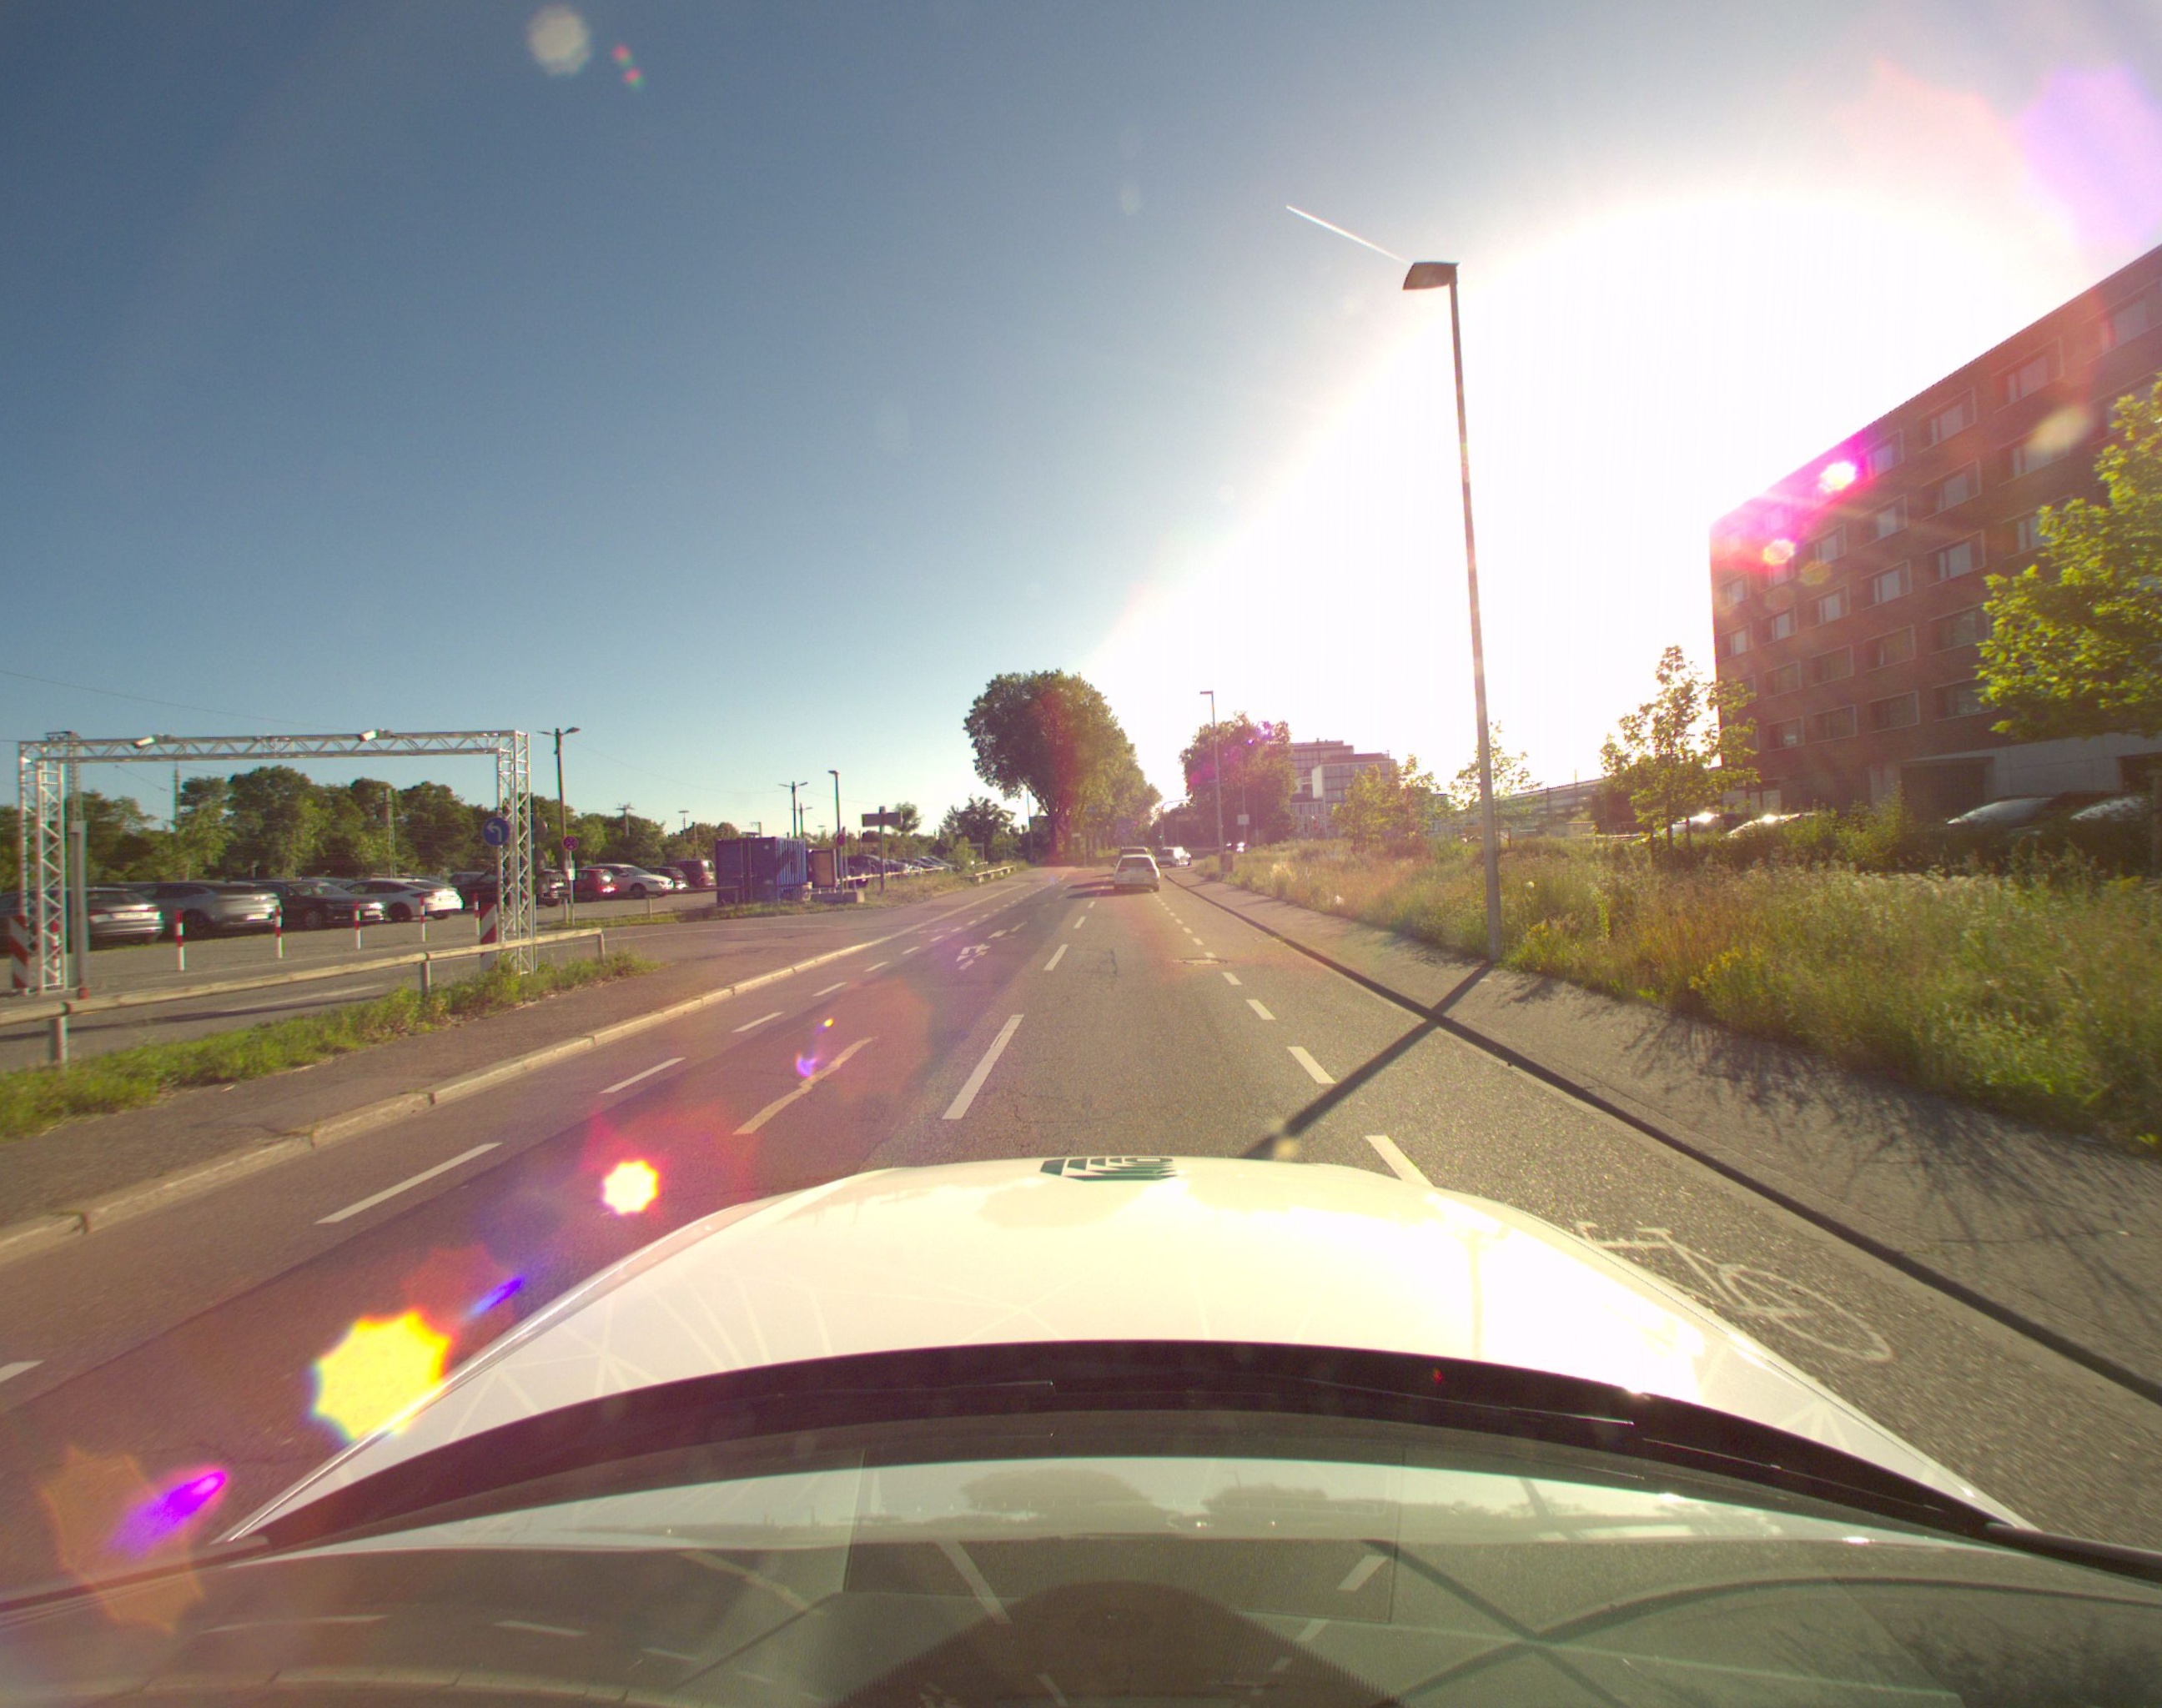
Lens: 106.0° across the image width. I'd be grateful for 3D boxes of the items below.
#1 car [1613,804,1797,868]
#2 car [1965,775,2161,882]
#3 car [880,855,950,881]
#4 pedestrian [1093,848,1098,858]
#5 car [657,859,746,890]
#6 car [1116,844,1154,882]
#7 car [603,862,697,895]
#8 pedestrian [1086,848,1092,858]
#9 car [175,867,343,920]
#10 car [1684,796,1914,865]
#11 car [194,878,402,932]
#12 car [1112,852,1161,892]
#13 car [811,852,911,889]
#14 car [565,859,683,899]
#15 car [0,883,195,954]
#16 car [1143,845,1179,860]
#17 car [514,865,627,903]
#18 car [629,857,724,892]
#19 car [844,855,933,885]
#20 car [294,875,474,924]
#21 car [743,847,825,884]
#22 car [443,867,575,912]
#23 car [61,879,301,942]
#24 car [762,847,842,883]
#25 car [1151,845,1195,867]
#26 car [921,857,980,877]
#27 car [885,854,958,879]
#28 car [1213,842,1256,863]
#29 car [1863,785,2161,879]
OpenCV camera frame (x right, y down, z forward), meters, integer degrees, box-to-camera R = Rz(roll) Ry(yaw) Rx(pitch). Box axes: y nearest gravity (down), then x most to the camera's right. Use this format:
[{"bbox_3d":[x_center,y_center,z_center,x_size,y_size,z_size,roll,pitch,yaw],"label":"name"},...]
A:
[{"bbox_3d":[18.557,-0.514,24.369,3.967,1.706,1.855,-2,0,6],"label":"car"},{"bbox_3d":[17.450,-0.431,13.124,4.163,1.580,1.855,-2,0,6],"label":"car"},{"bbox_3d":[-10.773,0.915,52.898,4.073,1.557,1.879,-2,0,1],"label":"car"},{"bbox_3d":[2.040,-0.201,116.759,0.675,1.415,0.685,-2,0,3],"label":"pedestrian"},{"bbox_3d":[-22.350,1.190,48.042,4.305,1.618,1.879,-2,0,1],"label":"car"},{"bbox_3d":[2.744,0.426,42.041,1.812,1.769,4.632,-2,0,3],"label":"car"},{"bbox_3d":[-22.556,1.268,42.675,3.868,1.520,1.879,-2,0,1],"label":"car"},{"bbox_3d":[1.154,-0.171,117.117,0.675,1.415,0.685,-2,0,3],"label":"pedestrian"},{"bbox_3d":[-28.083,1.328,27.917,3.867,1.603,1.879,-2,0,2],"label":"car"},{"bbox_3d":[18.433,-0.573,21.094,4.163,1.580,1.855,-2,0,6],"label":"car"},{"bbox_3d":[-22.987,1.471,24.019,4.305,1.376,1.879,-2,0,1],"label":"car"},{"bbox_3d":[2.200,0.663,32.467,1.782,1.420,4.004,-2,0,3],"label":"car"},{"bbox_3d":[-11.942,0.884,44.422,4.827,1.835,2.001,-2,0,1],"label":"car"},{"bbox_3d":[-22.160,1.188,39.591,4.557,1.741,2.062,-2,0,6],"label":"car"},{"bbox_3d":[-23.581,1.466,18.754,4.305,1.419,1.879,-2,0,1],"label":"car"},{"bbox_3d":[9.036,-0.137,92.135,2.008,1.596,3.957,-2,0,-35],"label":"car"},{"bbox_3d":[-22.976,1.330,36.757,3.868,1.520,1.879,-2,0,1],"label":"car"},{"bbox_3d":[-22.456,1.139,45.309,4.305,1.791,1.879,-2,0,1],"label":"car"},{"bbox_3d":[-11.174,0.925,47.487,4.577,1.557,2.001,-2,0,1],"label":"car"},{"bbox_3d":[-22.933,1.480,26.918,4.305,1.376,1.879,-2,0,1],"label":"car"},{"bbox_3d":[-21.127,0.809,58.163,4.908,2.459,2.321,-2,0,1],"label":"car"},{"bbox_3d":[-22.654,1.374,32.339,3.868,1.603,1.879,-2,0,1],"label":"car"},{"bbox_3d":[-23.789,1.459,21.642,4.305,1.419,1.879,-2,0,1],"label":"car"},{"bbox_3d":[-20.776,0.798,60.825,5.077,2.459,2.321,-2,0,1],"label":"car"},{"bbox_3d":[7.212,0.136,63.297,1.880,1.596,4.025,-2,0,30],"label":"car"},{"bbox_3d":[-10.717,1.054,67.013,4.409,1.557,1.879,-2,0,1],"label":"car"},{"bbox_3d":[-10.891,0.841,55.712,4.525,1.557,1.879,-2,0,1],"label":"car"},{"bbox_3d":[13.915,-0.159,73.913,2.142,1.684,4.026,-2,0,38],"label":"car"},{"bbox_3d":[18.010,-0.398,15.553,4.163,1.580,1.855,-2,0,6],"label":"car"}]
